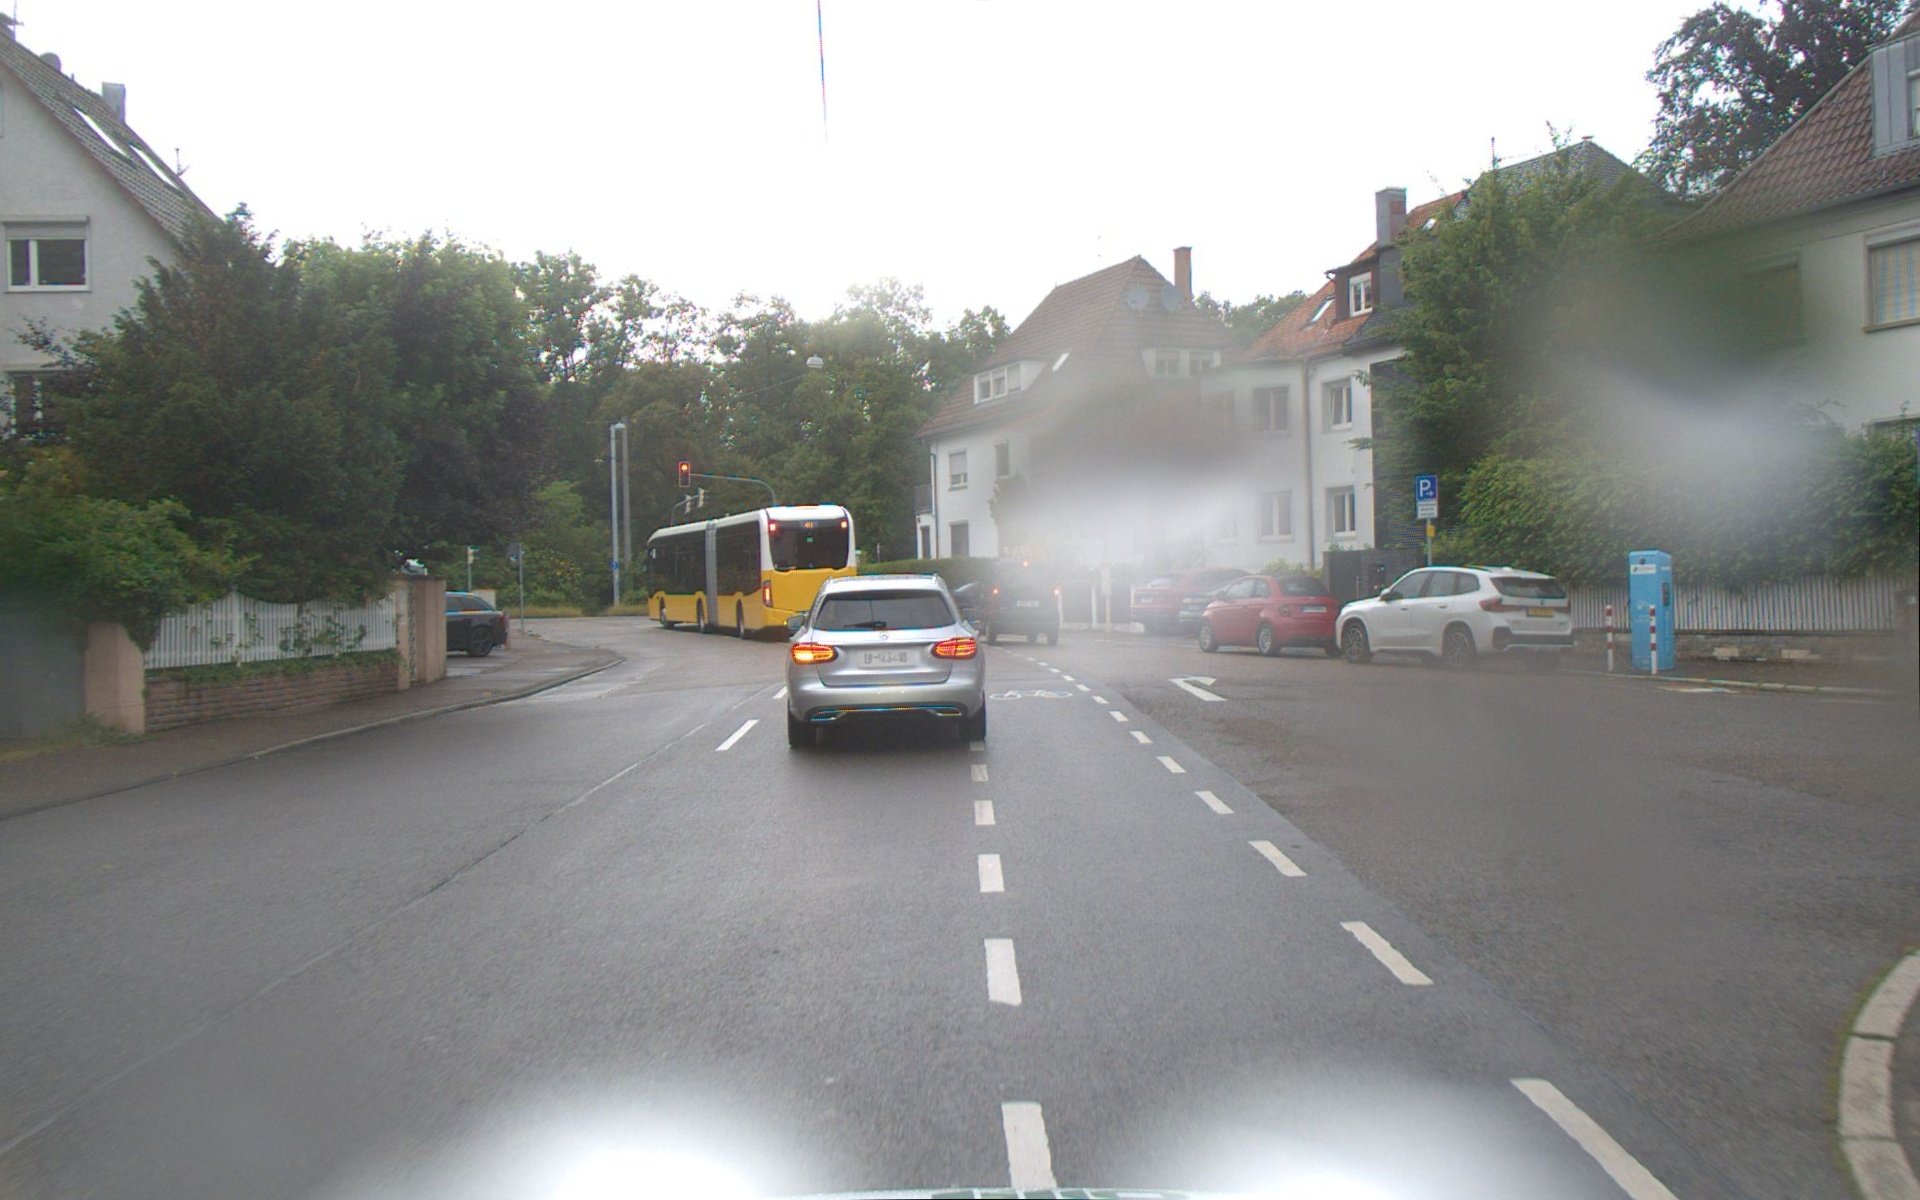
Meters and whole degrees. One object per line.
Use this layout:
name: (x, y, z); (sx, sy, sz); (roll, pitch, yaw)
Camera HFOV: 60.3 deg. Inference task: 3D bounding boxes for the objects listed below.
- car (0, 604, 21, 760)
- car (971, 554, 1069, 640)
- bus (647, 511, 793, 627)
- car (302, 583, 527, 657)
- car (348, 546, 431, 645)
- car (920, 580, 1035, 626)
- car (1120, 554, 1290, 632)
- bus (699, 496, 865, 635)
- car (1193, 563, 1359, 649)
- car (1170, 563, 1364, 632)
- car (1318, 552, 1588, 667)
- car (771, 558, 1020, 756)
car: (-11.567, 0.976, 16.312); (3.509, 1.567, 1.709); (-3, 3, -2)
car: (1.322, -0.070, 37.930); (1.773, 1.829, 3.996); (-2, 0, -5)
bus: (-8.053, -0.995, 54.409); (2.858, 3.457, 8.985); (-2, 1, -21)
car: (-12.005, 0.394, 36.691); (1.766, 1.521, 4.670); (1, 1, 33)
car: (-15.266, -0.134, 44.229); (1.964, 2.490, 5.463); (0, 0, -19)
car: (0.619, 0.087, 57.885); (3.694, 1.412, 1.605); (-2, 3, -24)
car: (6.362, -0.202, 42.921); (4.034, 1.780, 1.978); (-3, 2, -32)
bus: (-5.128, -0.943, 45.996); (2.637, 3.457, 8.631); (-2, 1, -19)
car: (6.039, 0.087, 31.973); (1.588, 1.564, 3.520); (0, 1, -20)
car: (7.604, -0.088, 40.916); (4.497, 1.441, 1.981); (-3, 2, -29)
car: (7.899, 0.117, 26.987); (1.720, 1.702, 4.615); (0, 1, -23)
car: (-0.638, 0.398, 15.485); (1.954, 1.505, 4.483); (-2, 2, -3)
